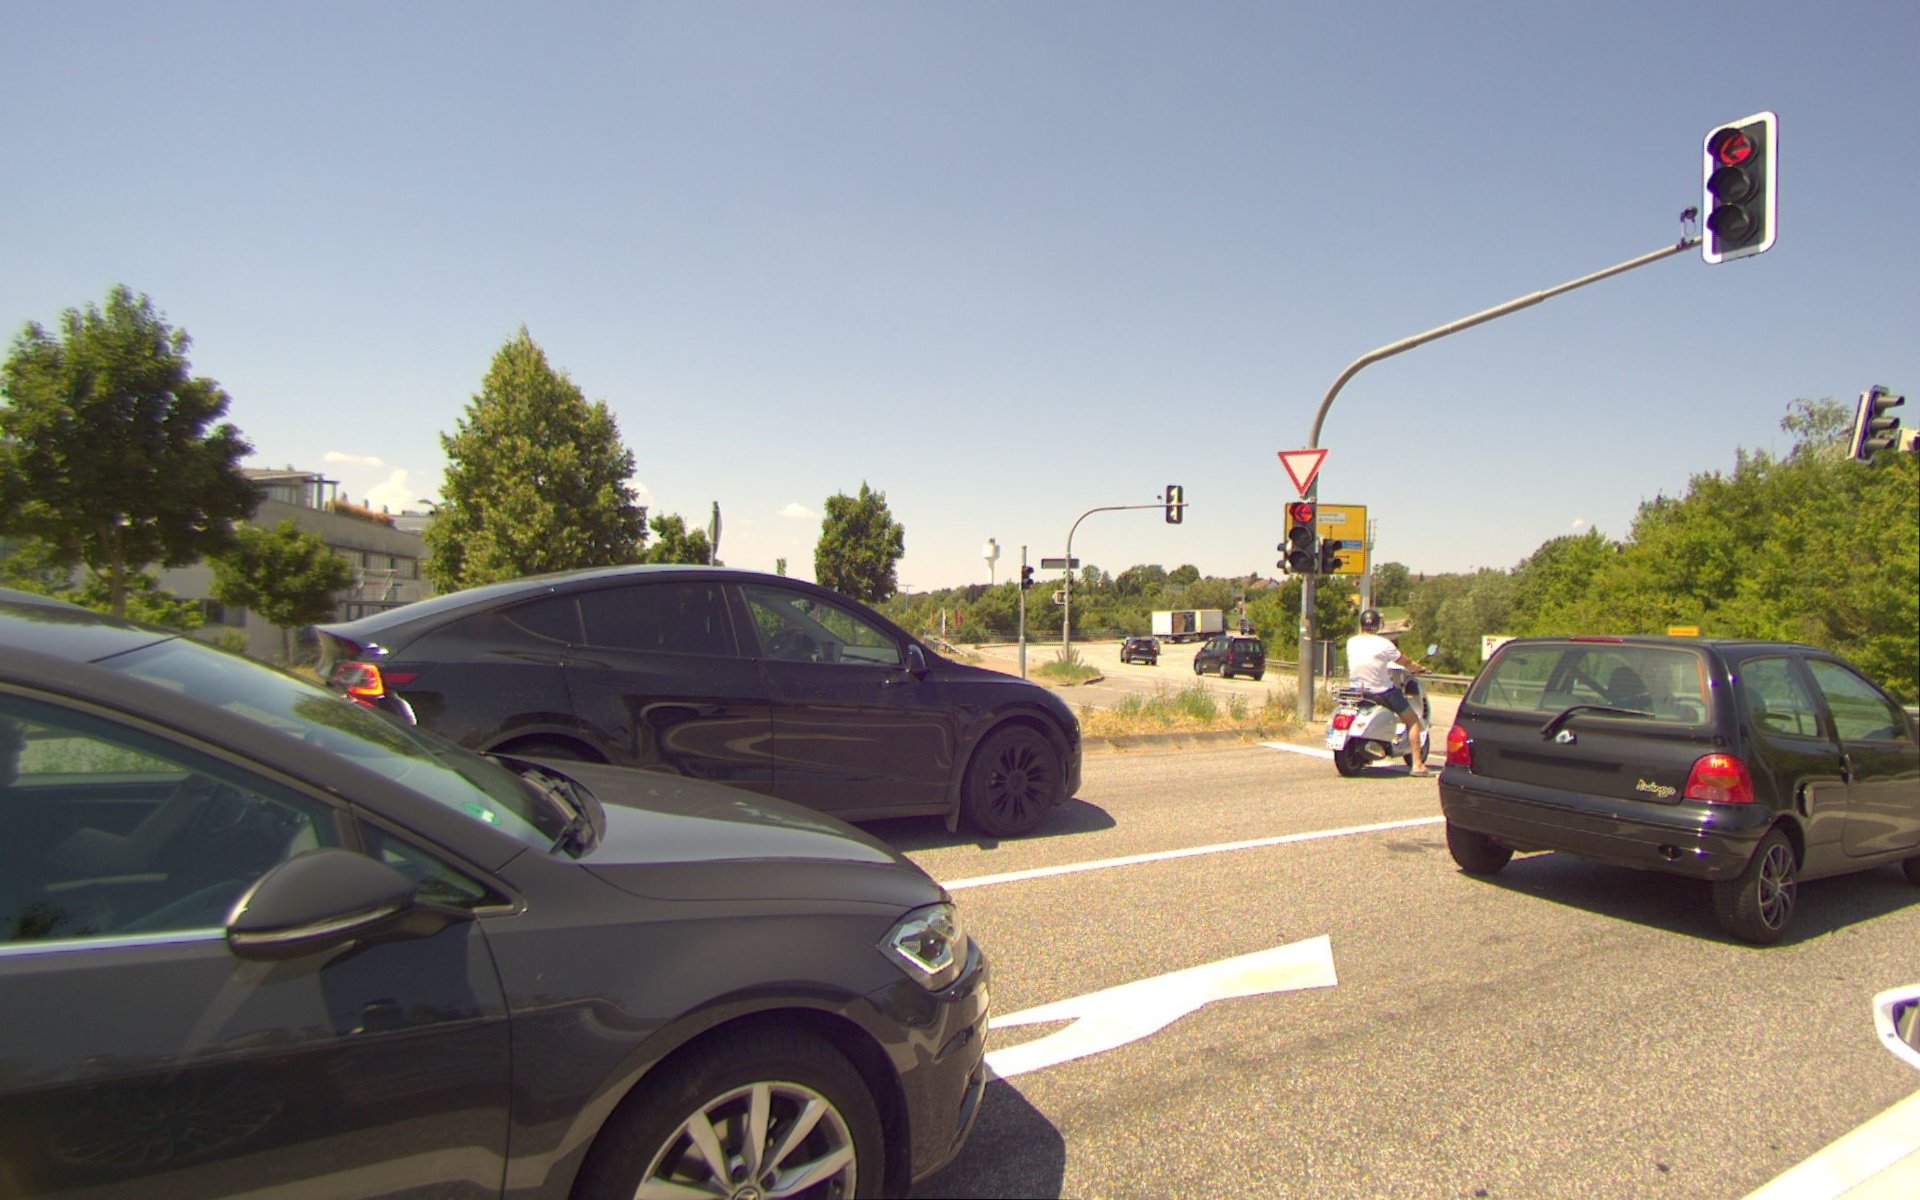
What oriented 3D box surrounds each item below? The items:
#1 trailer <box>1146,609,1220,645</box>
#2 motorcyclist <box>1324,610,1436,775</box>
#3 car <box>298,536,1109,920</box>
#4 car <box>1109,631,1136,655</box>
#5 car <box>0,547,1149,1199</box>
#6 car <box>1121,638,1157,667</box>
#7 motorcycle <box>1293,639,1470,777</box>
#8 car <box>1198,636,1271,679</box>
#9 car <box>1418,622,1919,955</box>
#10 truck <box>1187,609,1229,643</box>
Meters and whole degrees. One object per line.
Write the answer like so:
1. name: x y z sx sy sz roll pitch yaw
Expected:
1. trailer: 28.681 3.333 128.317 3.190 4.305 15.349 1 0 37
2. motorcyclist: 4.193 0.906 10.039 0.837 1.560 0.608 3 -1 -31
3. car: -1.391 0.601 6.246 4.457 1.622 1.864 2 -1 -33
4. car: 13.073 3.442 81.027 1.895 1.687 4.002 1 0 6
5. car: -1.878 0.669 1.967 4.380 1.502 1.768 2 0 -32
6. car: 11.248 3.281 63.461 1.845 1.644 4.002 1 -1 5
7. motorcycle: 4.243 1.057 10.058 1.919 1.255 0.573 3 -1 -31
8. car: 12.042 2.498 44.313 1.849 1.755 3.998 3 -2 -5
9. car: 4.452 0.892 5.941 3.263 1.426 1.611 2 -1 -31
10. truck: 33.210 3.459 134.440 3.190 4.305 6.214 1 0 37
